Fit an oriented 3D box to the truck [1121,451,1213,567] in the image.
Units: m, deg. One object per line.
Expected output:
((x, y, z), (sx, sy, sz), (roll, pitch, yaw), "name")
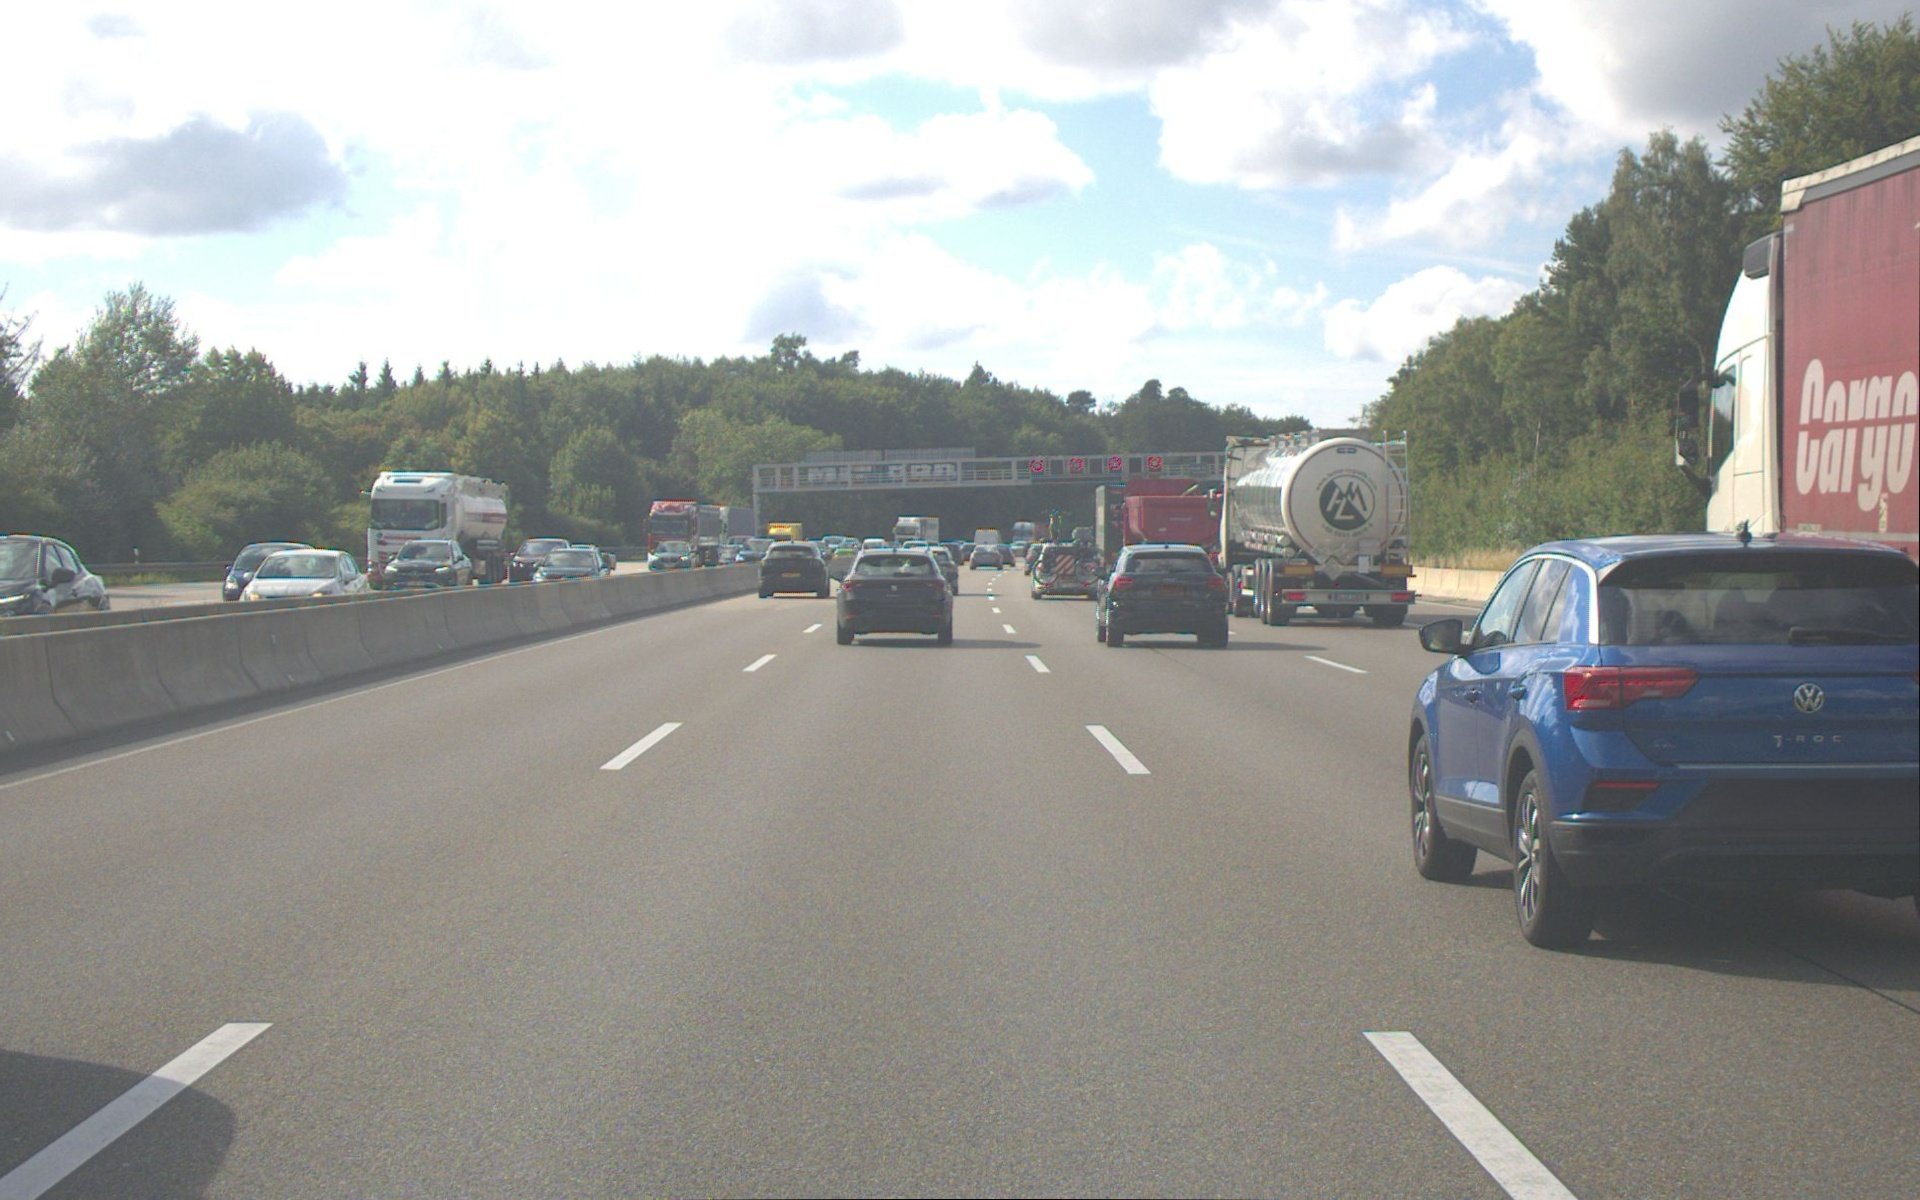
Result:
((6.829, -3.035, 114.154), (2.710, 3.706, 5.818), (1, 2, 0), "truck")

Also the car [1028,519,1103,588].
((2.884, -1.298, 94.805), (1.893, 1.850, 4.101), (1, 1, -1), "car")

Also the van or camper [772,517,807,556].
((-12.831, -4.811, 259.202), (2.373, 2.882, 6.507), (-1, 1, -1), "van or camper")

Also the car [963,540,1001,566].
((1.283, -2.764, 201.311), (2.077, 1.452, 4.000), (-1, 1, -1), "car")

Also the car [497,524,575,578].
((-13.868, -1.635, 112.673), (1.855, 1.664, 5.211), (-1, 1, 0), "car")

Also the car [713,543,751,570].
((-12.748, -2.426, 192.713), (1.603, 1.398, 4.000), (3, 1, 3), "car")

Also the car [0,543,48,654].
((-13.885, 0.002, 46.031), (1.993, 1.479, 5.132), (-1, 1, 0), "car")

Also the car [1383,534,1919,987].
((2.927, 0.514, 14.107), (1.773, 1.525, 4.458), (-1, 1, -1), "car")

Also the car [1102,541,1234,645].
((3.076, -0.131, 51.489), (1.822, 1.452, 4.000), (-1, 1, 2), "car")

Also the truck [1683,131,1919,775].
((7.174, -0.973, 24.436), (2.774, 4.031, 5.774), (0, 1, -1), "truck")

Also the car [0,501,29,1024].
((-3.929, 0.538, 8.216), (2.006, 1.610, 5.301), (1, 1, -1), "car")

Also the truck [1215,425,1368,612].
((7.020, -1.724, 73.539), (2.649, 3.810, 6.082), (0, 1, 0), "truck")

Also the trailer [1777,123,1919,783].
((7.274, -0.825, 17.613), (2.774, 4.031, 13.714), (0, 1, -1), "trailer")

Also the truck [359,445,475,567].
((-18.058, -3.113, 114.720), (2.788, 3.932, 6.446), (0, 1, 1), "truck")

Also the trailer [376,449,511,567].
((-17.994, -3.175, 120.567), (2.788, 3.932, 12.253), (0, 1, 1), "trailer")

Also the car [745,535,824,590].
((-4.922, -1.076, 96.912), (1.942, 1.452, 4.000), (-1, 1, 1), "car")

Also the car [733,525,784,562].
((-9.644, -2.713, 165.172), (2.155, 1.694, 5.351), (-1, 1, -1), "car")

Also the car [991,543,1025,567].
((3.132, -2.957, 224.595), (2.077, 1.452, 4.000), (-1, 1, -1), "car")

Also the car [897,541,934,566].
((-2.672, -2.797, 205.604), (2.077, 1.452, 4.000), (-1, 1, 1), "car")

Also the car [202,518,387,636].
((-11.224, -0.415, 58.324), (2.171, 1.872, 4.981), (-1, 1, 0), "car")

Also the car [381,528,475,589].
((-14.548, -1.164, 94.196), (1.860, 1.614, 4.748), (0, 1, 0), "car")

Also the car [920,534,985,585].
((-0.221, -1.229, 103.354), (1.822, 1.452, 4.000), (-1, 1, 1), "car")

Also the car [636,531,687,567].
((-14.065, -2.411, 162.237), (1.994, 1.658, 4.687), (-1, 1, 0), "car")

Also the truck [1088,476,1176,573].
((7.258, -3.215, 146.572), (3.118, 3.921, 10.412), (-1, 1, 0), "truck")

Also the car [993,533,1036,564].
((2.656, -2.538, 168.900), (1.942, 1.452, 4.000), (-1, 1, -1), "car")

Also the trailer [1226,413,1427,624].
((7.039, -1.582, 67.700), (2.649, 3.754, 11.861), (0, 1, 0), "trailer")

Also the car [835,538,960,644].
((-0.939, -0.165, 52.072), (1.822, 1.541, 4.000), (0, 1, -1), "car")

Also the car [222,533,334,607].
((-14.510, -0.658, 73.314), (1.629, 1.506, 4.000), (-1, 1, -1), "car")

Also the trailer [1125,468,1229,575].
((6.815, -2.544, 109.126), (2.710, 3.220, 9.733), (1, 2, 0), "trailer")

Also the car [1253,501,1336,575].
((9.197, -1.714, 94.809), (1.893, 1.950, 4.100), (1, 1, 0), "car")

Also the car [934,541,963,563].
((-0.801, -3.344, 236.830), (1.929, 1.452, 4.392), (-1, 1, -1), "car")

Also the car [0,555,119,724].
((-10.256, 0.377, 35.890), (1.913, 1.634, 4.242), (-1, 1, 0), "car")

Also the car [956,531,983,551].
((0.685, -4.465, 259.281), (1.929, 1.452, 3.965), (-1, 1, -1), "car")
